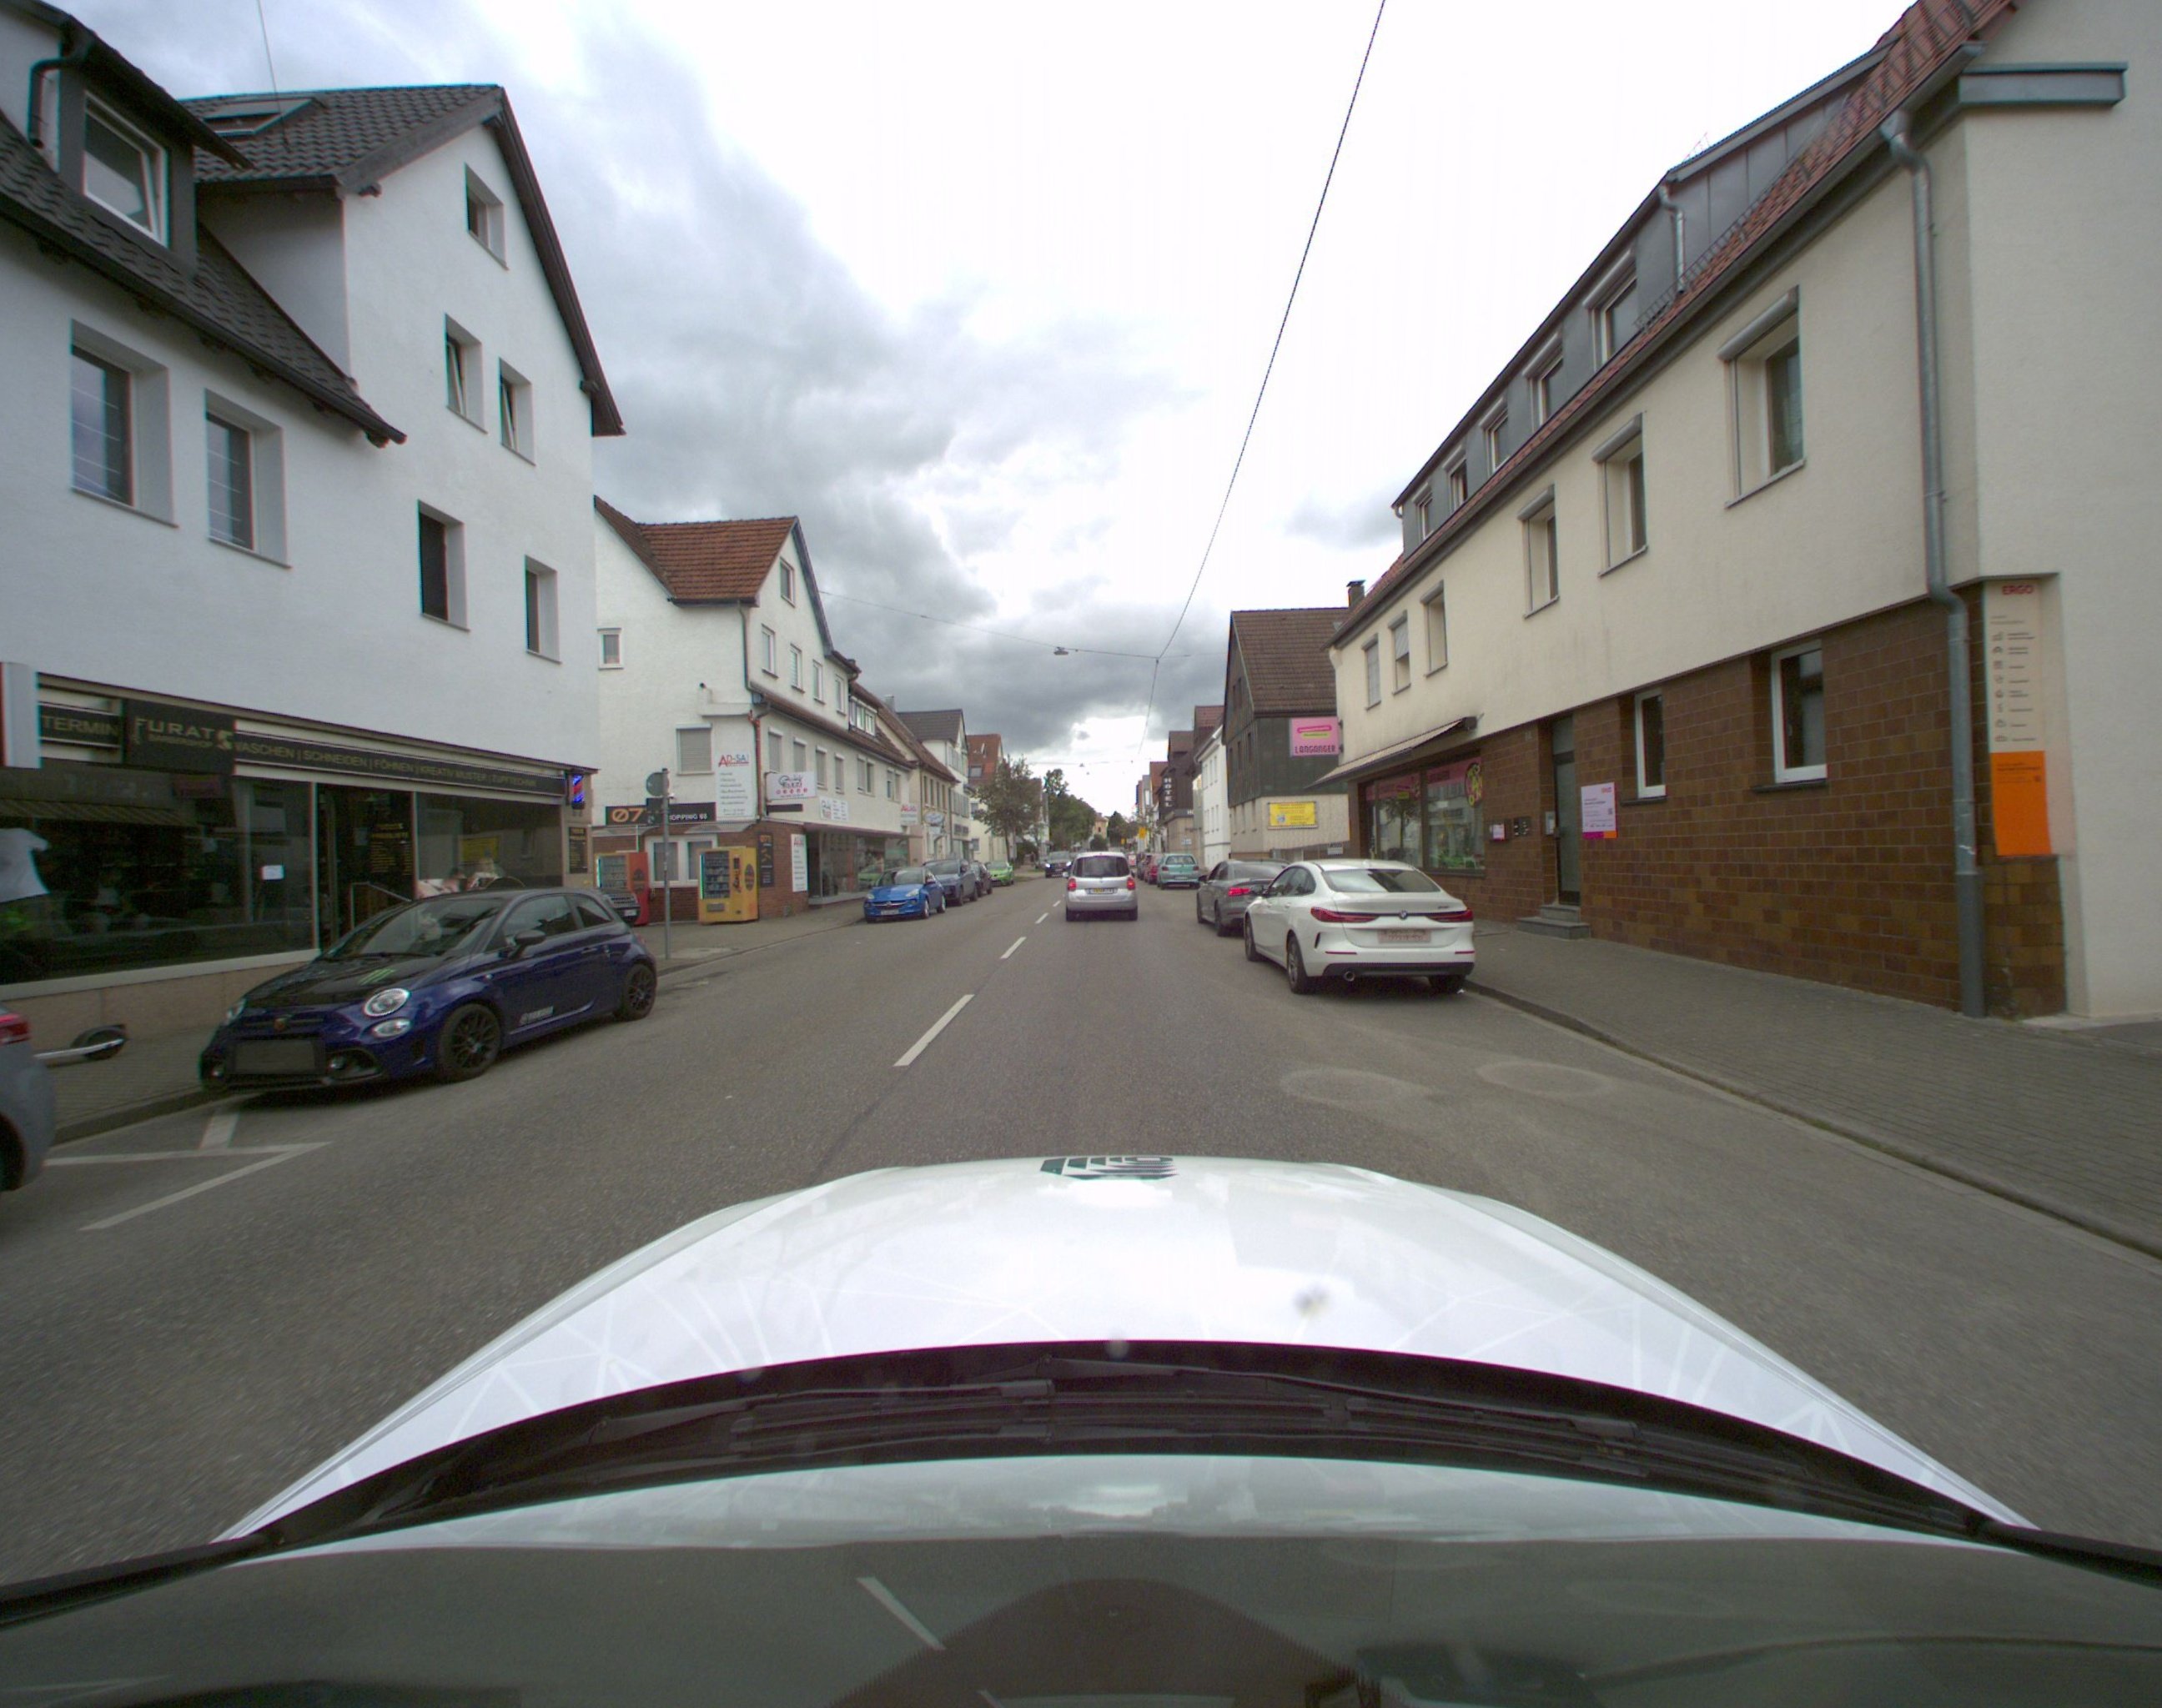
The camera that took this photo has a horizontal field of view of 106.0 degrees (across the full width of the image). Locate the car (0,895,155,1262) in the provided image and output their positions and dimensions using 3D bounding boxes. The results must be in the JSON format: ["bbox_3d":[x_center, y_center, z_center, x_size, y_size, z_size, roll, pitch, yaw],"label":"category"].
[{"bbox_3d":[-5.650,1.044,2.077,1.703,1.566,4.116,-4,0,2],"label":"car"}]

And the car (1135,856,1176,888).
[{"bbox_3d":[3.589,0.837,39.997,1.748,1.445,4.457,-1,0,2],"label":"car"}]

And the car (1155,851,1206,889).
[{"bbox_3d":[4.198,0.658,34.867,1.824,1.497,3.995,-1,0,2],"label":"car"}]

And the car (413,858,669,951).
[{"bbox_3d":[-10.733,0.978,16.337,3.962,1.702,2.006,-1,0,10],"label":"car"}]

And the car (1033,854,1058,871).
[{"bbox_3d":[-3.443,0.839,80.153,1.941,1.467,4.518,-4,0,2],"label":"car"}]

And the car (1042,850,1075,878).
[{"bbox_3d":[-1.519,0.675,56.852,1.893,1.737,4.368,-4,0,2],"label":"car"}]

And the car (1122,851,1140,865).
[{"bbox_3d":[5.354,0.441,87.790,1.694,1.467,4.239,-1,0,1],"label":"car"}]

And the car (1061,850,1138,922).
[{"bbox_3d":[0.482,0.716,20.017,1.676,1.566,3.995,-1,0,2],"label":"car"}]

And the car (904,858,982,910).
[{"bbox_3d":[-4.847,0.991,29.228,1.796,1.599,4.307,-4,0,2],"label":"car"}]

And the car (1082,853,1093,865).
[{"bbox_3d":[1.187,0.851,145.515,1.945,2.013,4.001,-1,0,1],"label":"car"}]

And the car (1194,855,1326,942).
[{"bbox_3d":[3.333,0.769,15.932,1.824,1.445,4.112,-1,0,2],"label":"car"}]

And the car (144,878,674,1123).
[{"bbox_3d":[-5.557,1.066,7.430,1.676,1.493,3.593,-4,0,2],"label":"car"}]

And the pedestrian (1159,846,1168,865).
[{"bbox_3d":[8.577,0.174,85.016,0.853,1.928,0.900,-1,0,1],"label":"pedestrian"}]

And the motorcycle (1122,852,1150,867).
[{"bbox_3d":[5.391,0.533,79.825,2.723,1.336,0.693,-1,0,-29],"label":"motorcycle"}]

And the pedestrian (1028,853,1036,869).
[{"bbox_3d":[-5.737,0.838,95.501,0.760,1.791,0.890,-1,0,1],"label":"pedestrian"}]

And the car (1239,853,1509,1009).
[{"bbox_3d":[3.162,0.723,9.801,1.824,1.445,4.334,-1,0,2],"label":"car"}]

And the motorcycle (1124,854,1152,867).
[{"bbox_3d":[5.538,0.604,78.777,2.744,1.183,0.693,-1,0,-29],"label":"motorcycle"}]

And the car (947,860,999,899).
[{"bbox_3d":[-4.568,1.047,34.914,1.575,1.508,3.814,-1,0,2],"label":"car"}]

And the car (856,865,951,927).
[{"bbox_3d":[-5.003,1.129,23.473,1.676,1.499,3.777,-4,0,2],"label":"car"}]

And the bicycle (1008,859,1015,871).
[{"bbox_3d":[-6.560,1.015,76.650,0.513,1.153,1.665,-1,0,-1],"label":"bicycle"}]

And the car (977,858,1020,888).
[{"bbox_3d":[-4.504,1.000,44.910,1.676,1.447,4.022,-4,0,2],"label":"car"}]

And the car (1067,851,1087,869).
[{"bbox_3d":[-0.387,0.587,82.137,1.788,1.578,4.194,-4,0,2],"label":"car"}]

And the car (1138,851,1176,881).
[{"bbox_3d":[4.204,0.655,45.706,1.868,1.539,4.515,-1,0,2],"label":"car"}]
